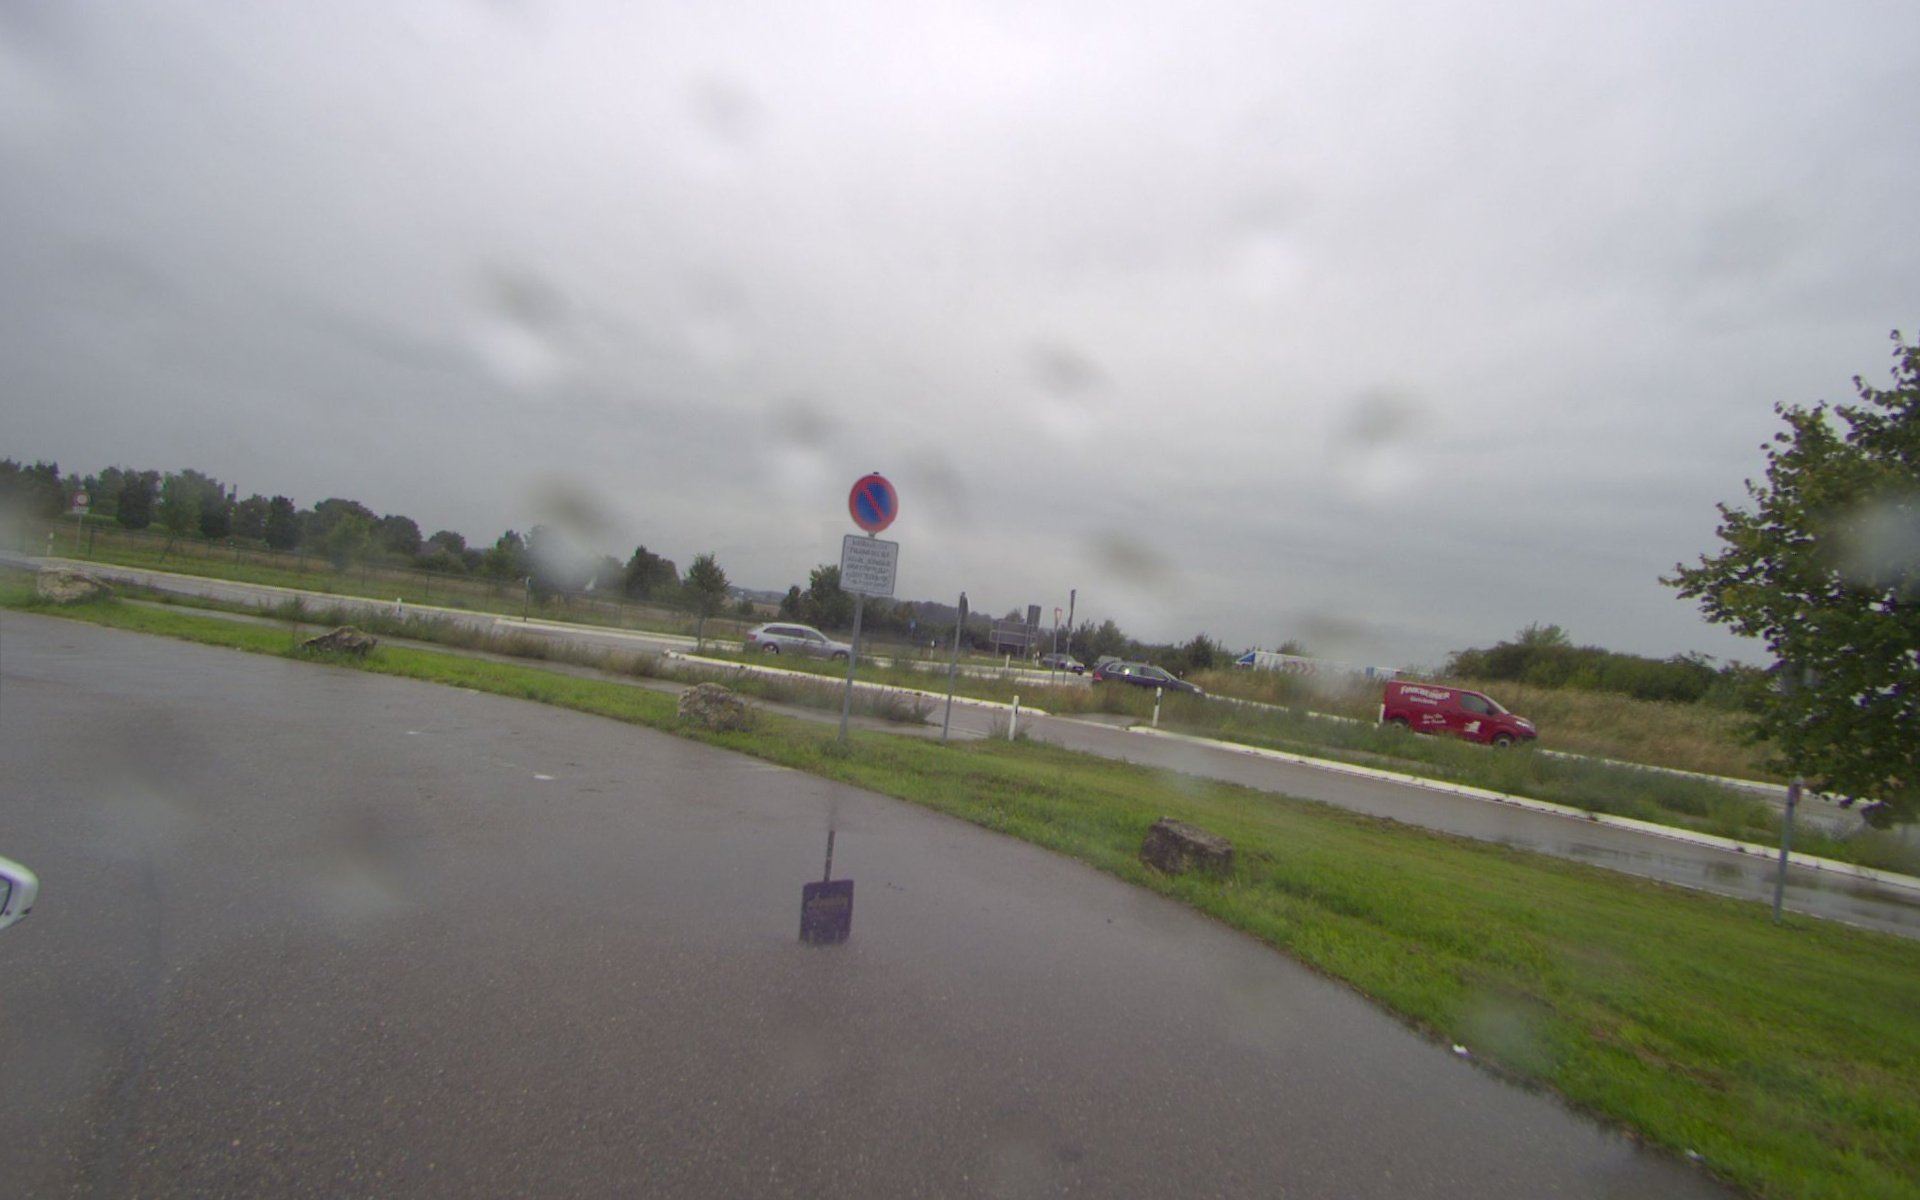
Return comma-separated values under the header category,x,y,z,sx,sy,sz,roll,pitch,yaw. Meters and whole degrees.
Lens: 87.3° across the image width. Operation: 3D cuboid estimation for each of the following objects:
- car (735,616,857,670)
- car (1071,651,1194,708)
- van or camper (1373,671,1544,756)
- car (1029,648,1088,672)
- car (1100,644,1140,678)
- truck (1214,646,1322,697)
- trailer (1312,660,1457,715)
category,x,y,z,sx,sy,sz,roll,pitch,yaw
car,-6.558,1.730,40.547,4.583,1.500,1.997,8,0,-8
car,6.802,3.126,39.645,4.439,1.621,2.003,6,-2,17
van or camper,16.907,3.782,34.219,4.770,2.039,1.994,7,1,35
car,7.618,4.662,77.971,4.252,1.341,1.747,6,0,43
car,9.965,3.805,63.004,1.856,1.705,4.671,6,0,3
truck,24.407,5.691,80.008,7.643,2.941,2.187,7,-2,9
trailer,33.044,6.785,78.630,9.949,2.935,2.210,7,-2,9
